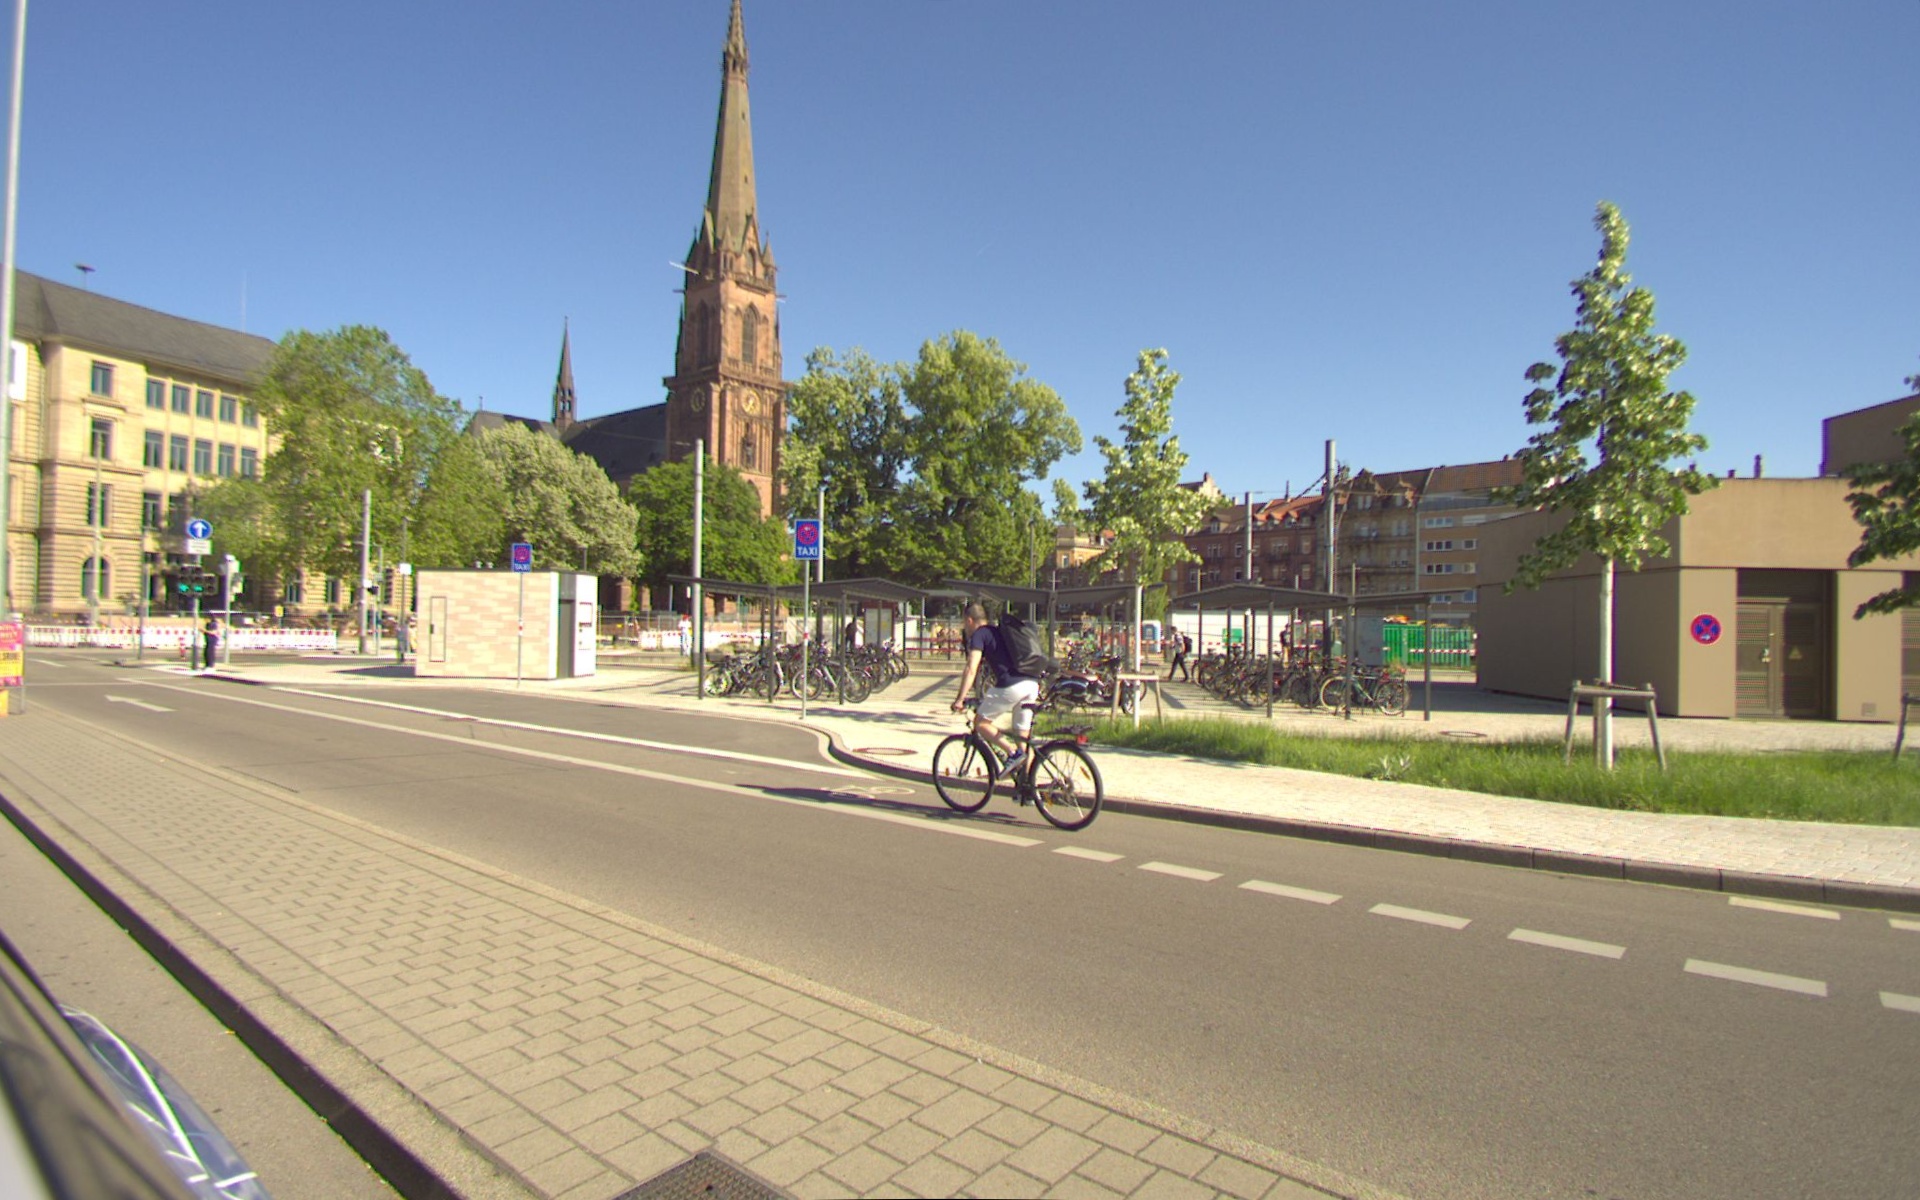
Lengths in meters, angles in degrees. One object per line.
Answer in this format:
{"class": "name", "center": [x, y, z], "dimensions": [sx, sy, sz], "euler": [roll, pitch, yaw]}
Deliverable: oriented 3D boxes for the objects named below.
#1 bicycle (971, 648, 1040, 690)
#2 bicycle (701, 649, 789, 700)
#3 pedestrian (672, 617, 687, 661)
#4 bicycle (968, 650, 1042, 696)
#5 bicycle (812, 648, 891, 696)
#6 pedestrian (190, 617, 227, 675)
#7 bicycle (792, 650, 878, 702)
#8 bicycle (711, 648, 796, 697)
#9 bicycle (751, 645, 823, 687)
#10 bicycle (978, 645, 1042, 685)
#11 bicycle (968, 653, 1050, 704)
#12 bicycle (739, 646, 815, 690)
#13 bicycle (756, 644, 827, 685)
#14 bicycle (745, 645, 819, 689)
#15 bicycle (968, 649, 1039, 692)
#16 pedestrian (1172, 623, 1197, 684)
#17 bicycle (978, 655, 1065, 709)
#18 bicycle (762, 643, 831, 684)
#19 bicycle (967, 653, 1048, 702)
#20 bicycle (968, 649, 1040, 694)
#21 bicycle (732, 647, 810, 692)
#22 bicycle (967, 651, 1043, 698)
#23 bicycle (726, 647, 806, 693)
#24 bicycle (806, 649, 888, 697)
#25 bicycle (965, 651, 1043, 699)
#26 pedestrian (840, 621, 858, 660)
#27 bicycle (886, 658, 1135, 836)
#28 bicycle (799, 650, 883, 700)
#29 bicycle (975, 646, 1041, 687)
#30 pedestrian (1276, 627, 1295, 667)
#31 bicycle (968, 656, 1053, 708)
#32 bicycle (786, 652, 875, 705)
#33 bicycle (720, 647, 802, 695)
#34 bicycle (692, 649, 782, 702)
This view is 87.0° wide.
{"class": "bicycle", "center": [1.202, 1.809, 26.815], "dimensions": [1.764, 1.046, 0.567], "euler": [1, -3, 3]}
{"class": "bicycle", "center": [-4.678, 1.608, 22.069], "dimensions": [1.764, 1.046, 0.567], "euler": [1, -3, 3]}
{"class": "pedestrian", "center": [-11.435, 1.581, 41.263], "dimensions": [0.529, 1.736, 0.684], "euler": [0, -6, -20]}
{"class": "bicycle", "center": [1.103, 1.784, 24.750], "dimensions": [1.764, 1.046, 0.567], "euler": [1, -3, 3]}
{"class": "bicycle", "center": [-2.533, 1.683, 23.779], "dimensions": [1.764, 1.046, 0.567], "euler": [1, -3, 3]}
{"class": "pedestrian", "center": [-22.428, 1.352, 30.210], "dimensions": [0.648, 1.693, 0.779], "euler": [-1, 0, 42]}
{"class": "bicycle", "center": [-2.695, 1.638, 21.927], "dimensions": [1.764, 1.046, 0.567], "euler": [1, -3, 3]}
{"class": "bicycle", "center": [-4.650, 1.628, 22.824], "dimensions": [1.764, 1.046, 0.567], "euler": [1, -3, 3]}
{"class": "bicycle", "center": [-4.555, 1.723, 26.638], "dimensions": [1.764, 1.046, 0.567], "euler": [1, -3, 3]}
{"class": "bicycle", "center": [1.395, 1.820, 28.307], "dimensions": [1.764, 1.046, 0.567], "euler": [1, -3, 3]}
{"class": "bicycle", "center": [1.069, 1.720, 22.173], "dimensions": [1.764, 1.046, 0.567], "euler": [1, -3, 3]}
{"class": "bicycle", "center": [-4.586, 1.703, 25.376], "dimensions": [1.764, 1.046, 0.567], "euler": [1, -3, 3]}
{"class": "bicycle", "center": [-4.529, 1.733, 27.240], "dimensions": [1.764, 1.046, 0.567], "euler": [1, -3, 3]}
{"class": "bicycle", "center": [-4.572, 1.715, 26.042], "dimensions": [1.764, 1.046, 0.567], "euler": [1, -3, 3]}
{"class": "bicycle", "center": [1.116, 1.805, 25.944], "dimensions": [1.764, 1.046, 0.567], "euler": [1, -3, 3]}
{"class": "pedestrian", "center": [6.521, 1.544, 29.390], "dimensions": [0.675, 1.736, 0.615], "euler": [0, -2, 13]}
{"class": "bicycle", "center": [1.267, 1.690, 20.993], "dimensions": [1.764, 1.046, 0.567], "euler": [1, -3, 3]}
{"class": "bicycle", "center": [-4.489, 1.742, 27.833], "dimensions": [1.764, 1.046, 0.567], "euler": [1, -3, 3]}
{"class": "bicycle", "center": [1.065, 1.735, 22.832], "dimensions": [1.764, 1.046, 0.567], "euler": [1, -3, 3]}
{"class": "bicycle", "center": [1.104, 1.782, 25.350], "dimensions": [1.764, 1.046, 0.567], "euler": [1, -3, 3]}
{"class": "bicycle", "center": [-4.608, 1.691, 24.760], "dimensions": [1.764, 1.046, 0.567], "euler": [1, -3, 3]}
{"class": "bicycle", "center": [1.070, 1.768, 24.135], "dimensions": [1.764, 1.046, 0.567], "euler": [1, -3, 3]}
{"class": "bicycle", "center": [-4.608, 1.660, 24.144], "dimensions": [1.764, 1.046, 0.567], "euler": [1, -3, 3]}
{"class": "bicycle", "center": [-2.576, 1.665, 23.179], "dimensions": [1.764, 1.046, 0.567], "euler": [1, -3, 3]}
{"class": "bicycle", "center": [1.025, 1.739, 23.462], "dimensions": [1.764, 1.046, 0.567], "euler": [1, -3, 3]}
{"class": "pedestrian", "center": [-4.743, 1.726, 43.232], "dimensions": [0.518, 1.667, 0.559], "euler": [-1, 0, 41]}
{"class": "bicycle", "center": [0.357, 1.069, 7.905], "dimensions": [1.869, 1.174, 0.738], "euler": [-1, -3, 41]}
{"class": "bicycle", "center": [-2.634, 1.654, 22.569], "dimensions": [1.764, 1.046, 0.567], "euler": [1, -3, 3]}
{"class": "bicycle", "center": [1.304, 1.801, 27.541], "dimensions": [1.764, 1.046, 0.567], "euler": [1, -3, 3]}
{"class": "pedestrian", "center": [12.727, 1.831, 39.536], "dimensions": [0.581, 1.530, 0.559], "euler": [1, -2, 5]}
{"class": "bicycle", "center": [1.074, 1.740, 21.587], "dimensions": [1.764, 1.046, 0.567], "euler": [1, -3, 3]}
{"class": "bicycle", "center": [-2.718, 1.636, 21.277], "dimensions": [1.764, 1.046, 0.567], "euler": [1, -3, 3]}
{"class": "bicycle", "center": [-4.620, 1.639, 23.512], "dimensions": [1.764, 1.046, 0.567], "euler": [1, -3, 3]}
{"class": "bicycle", "center": [-4.708, 1.595, 21.417], "dimensions": [1.764, 1.046, 0.567], "euler": [1, -3, 3]}
